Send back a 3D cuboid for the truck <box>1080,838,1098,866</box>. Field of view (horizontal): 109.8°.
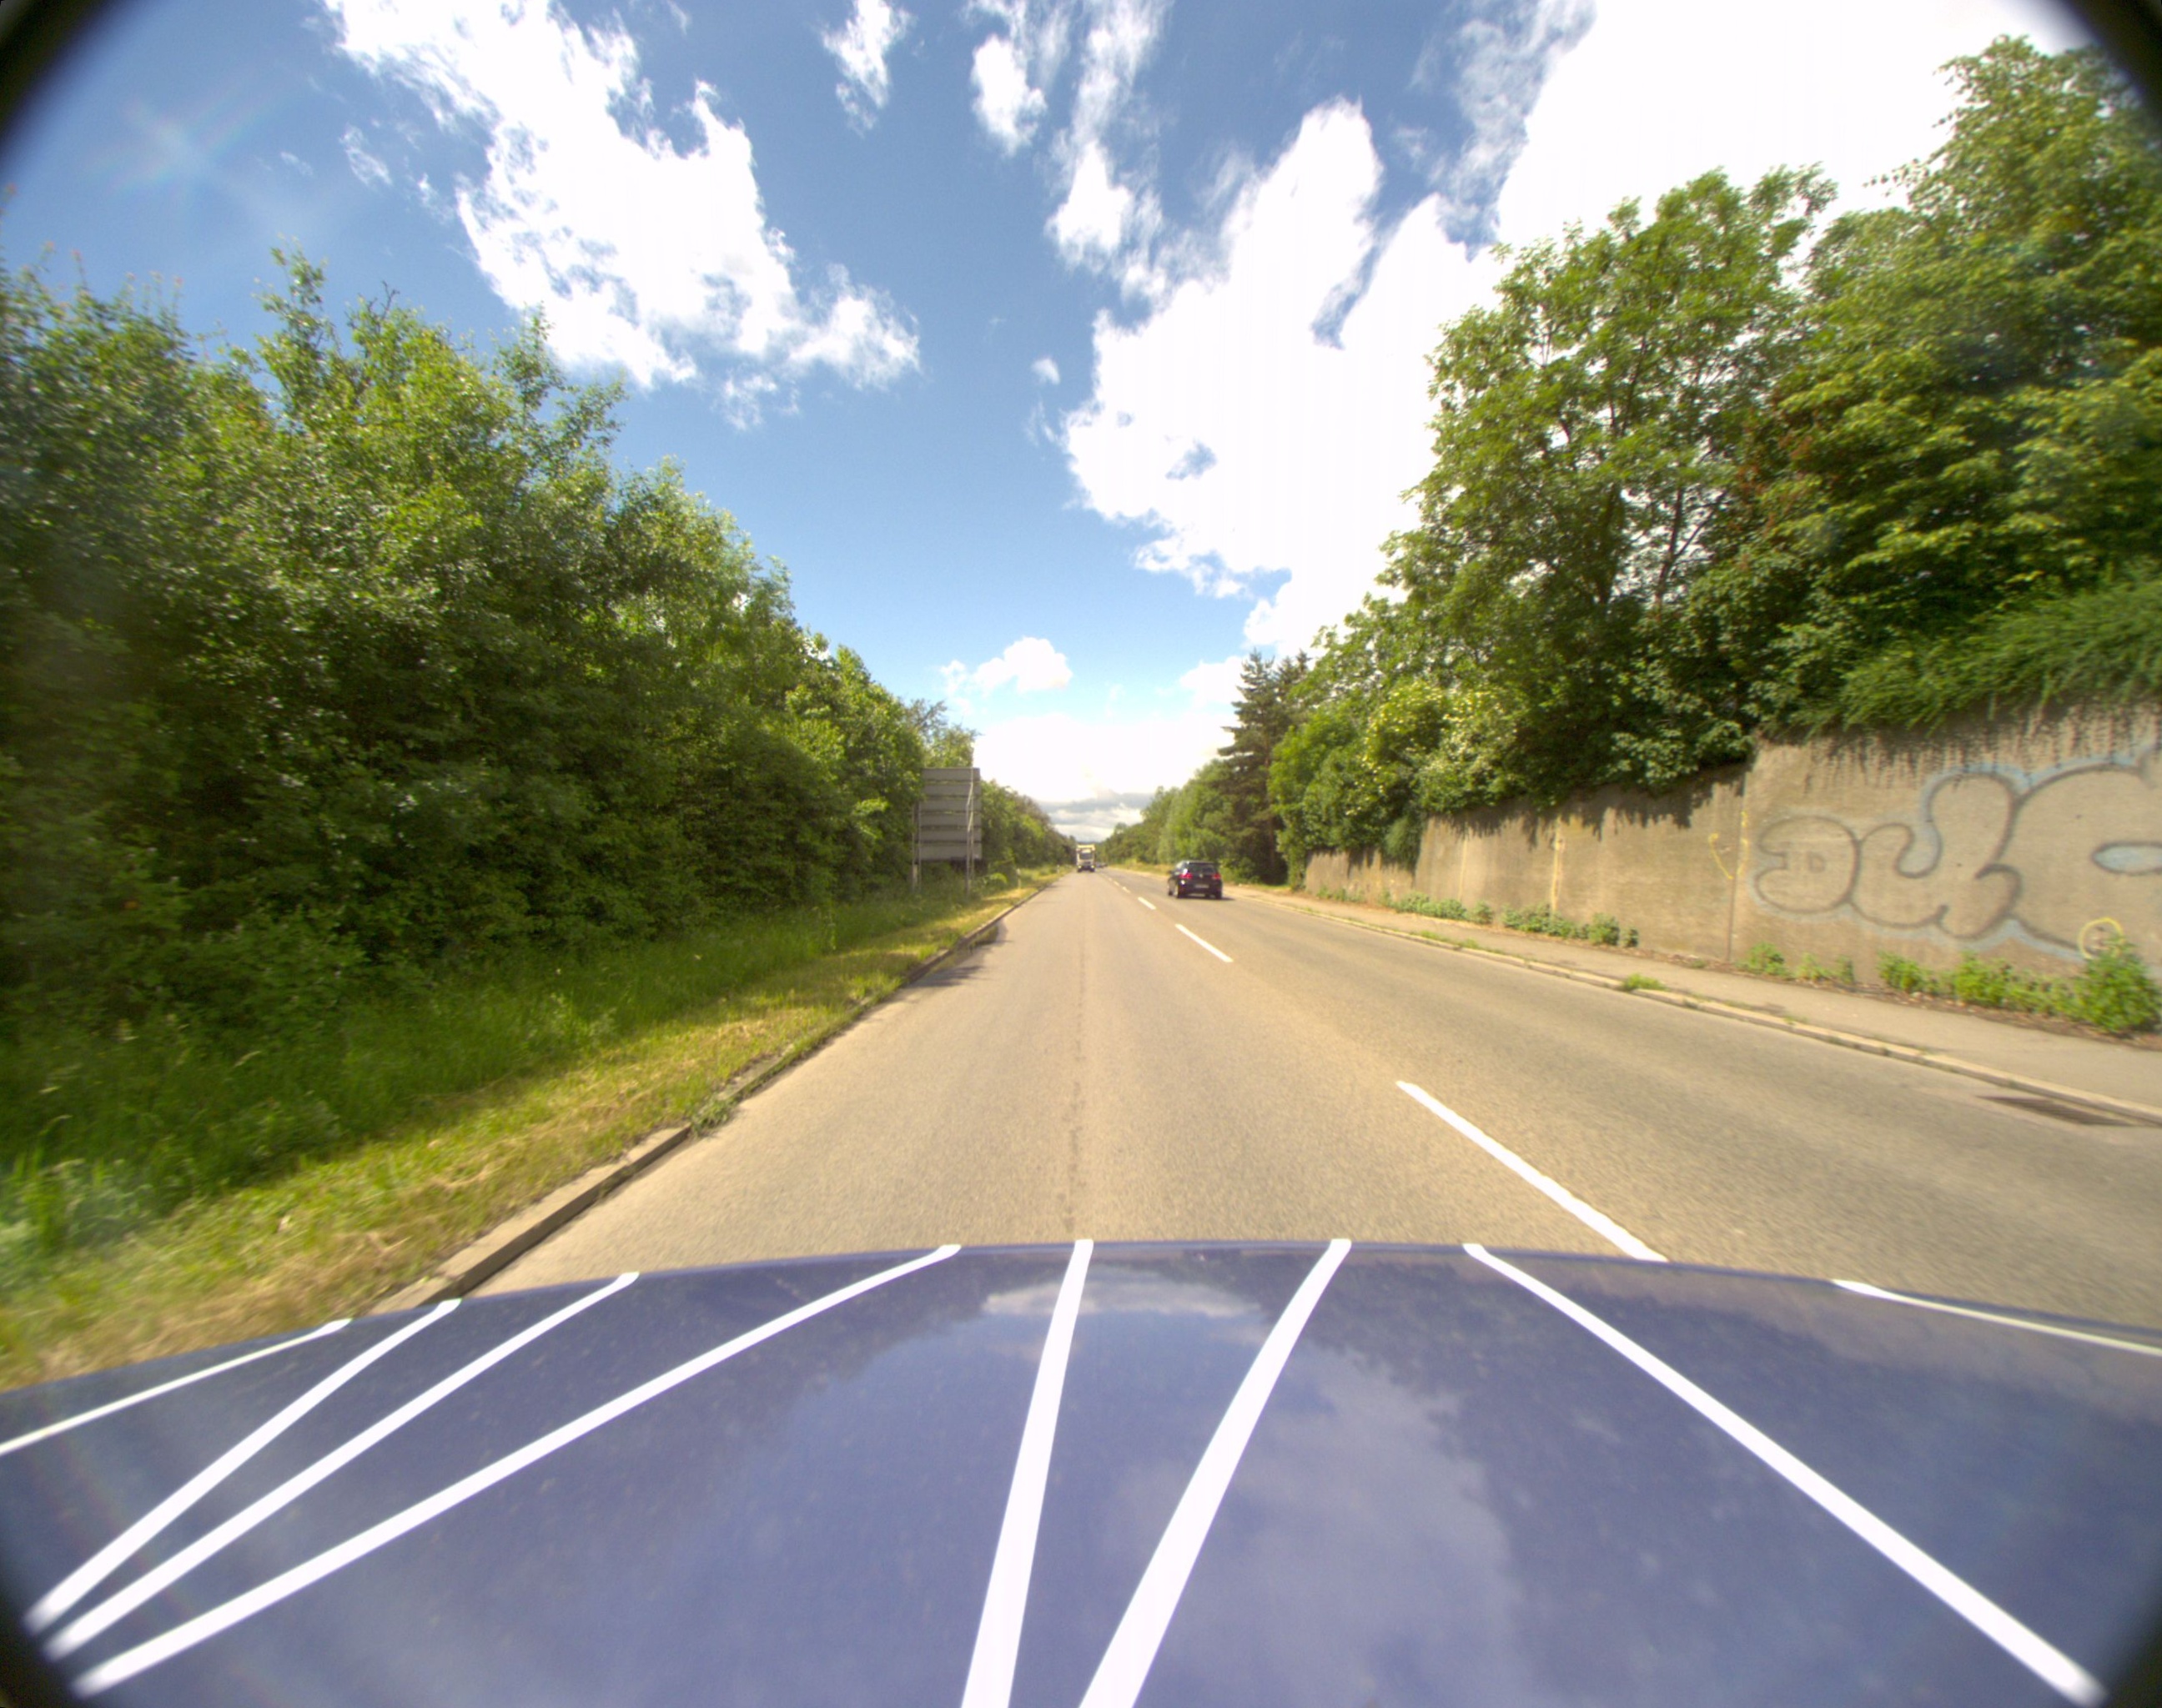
[{"bbox_3d":[1.051,-0.161,108.625,2.306,3.789,8.183,-2,-1,0],"label":"truck"}]

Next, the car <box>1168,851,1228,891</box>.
[{"bbox_3d":[4.550,0.626,30.115,1.756,1.455,4.000,0,0,0],"label":"car"}]
